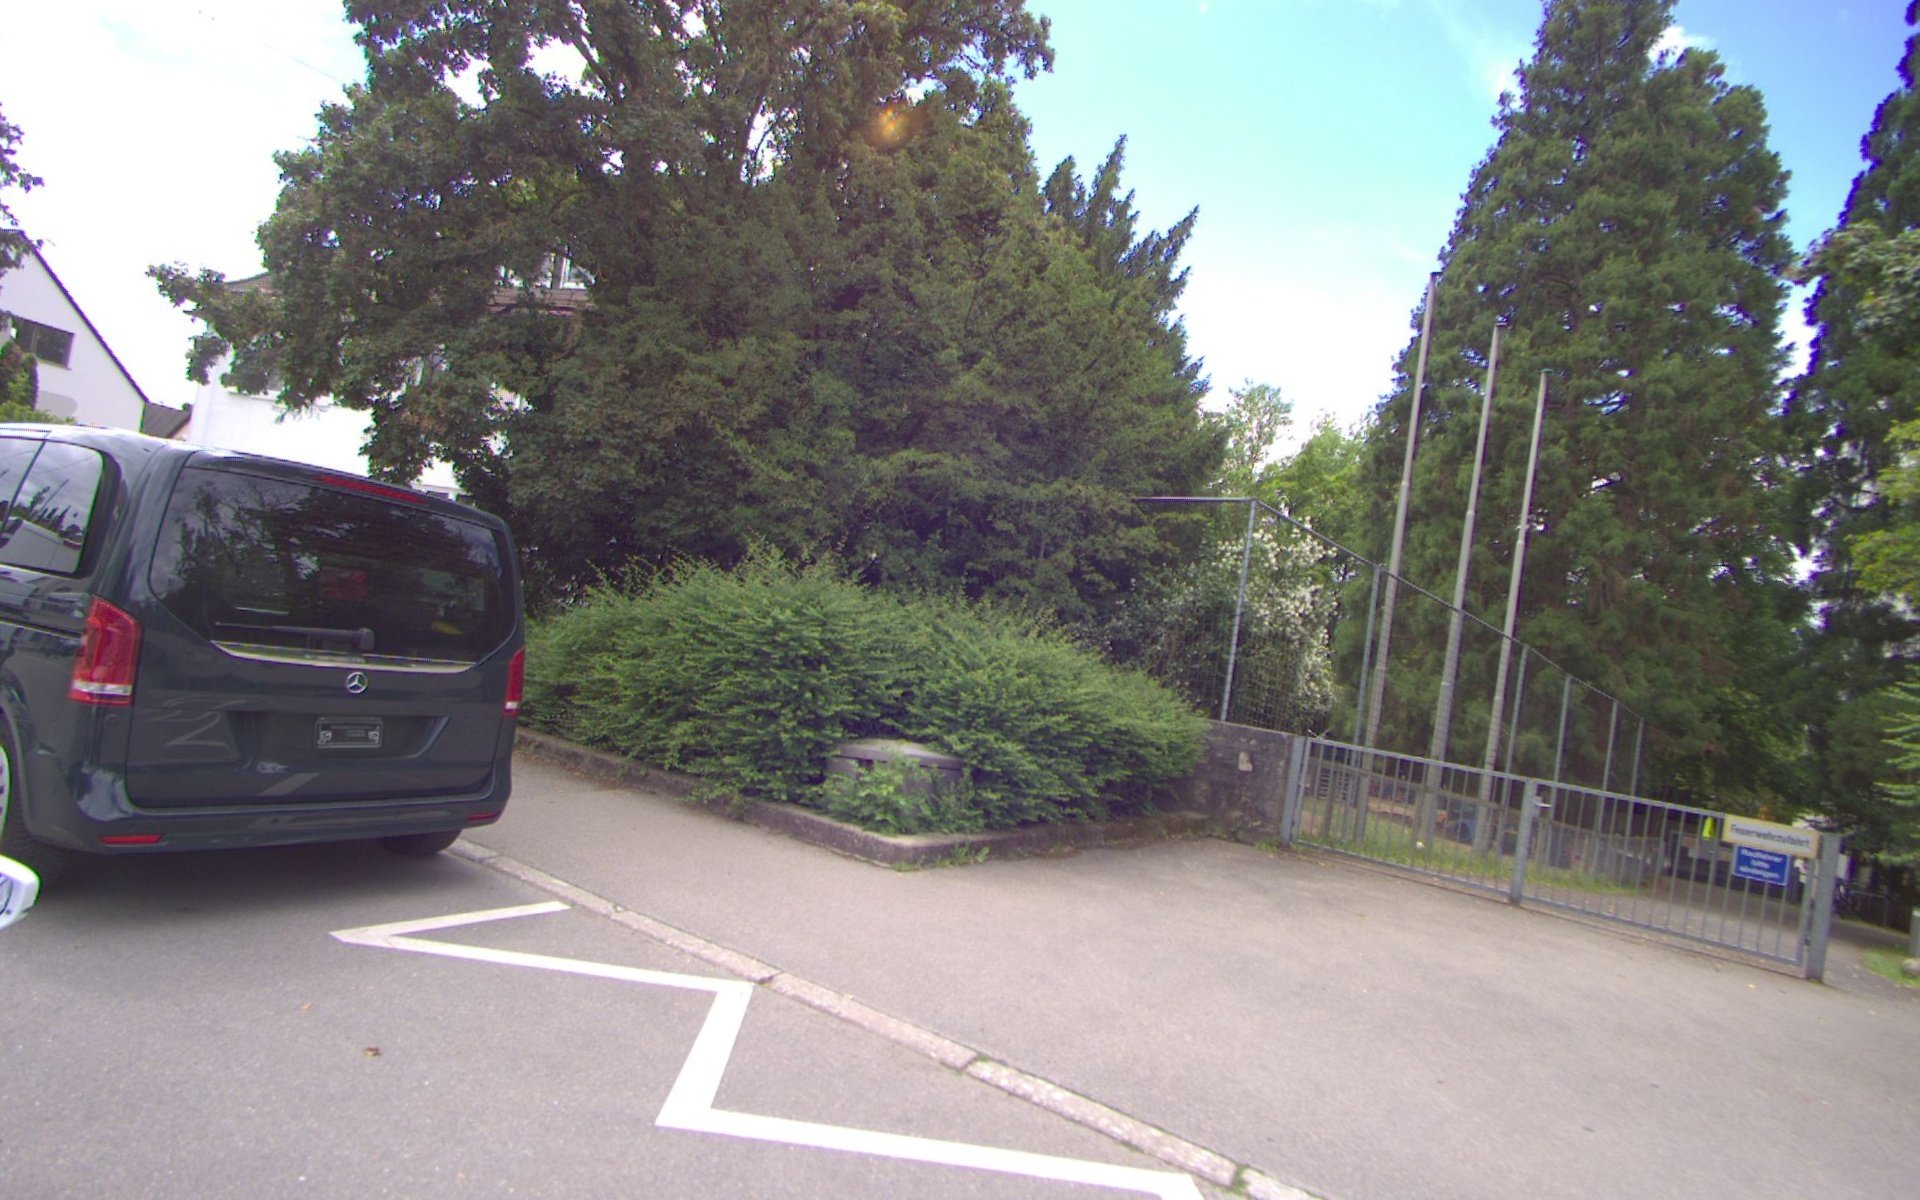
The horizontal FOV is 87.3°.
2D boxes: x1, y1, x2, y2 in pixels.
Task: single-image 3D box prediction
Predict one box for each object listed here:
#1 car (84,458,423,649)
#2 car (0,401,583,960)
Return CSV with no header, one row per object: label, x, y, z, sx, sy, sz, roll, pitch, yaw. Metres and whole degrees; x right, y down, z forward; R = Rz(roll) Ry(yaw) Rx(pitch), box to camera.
car,-13.468,-0.871,19.274,5.090,2.709,2.511,8,-4,20
car,-4.629,0.124,5.482,5.072,1.869,1.914,7,-3,32
